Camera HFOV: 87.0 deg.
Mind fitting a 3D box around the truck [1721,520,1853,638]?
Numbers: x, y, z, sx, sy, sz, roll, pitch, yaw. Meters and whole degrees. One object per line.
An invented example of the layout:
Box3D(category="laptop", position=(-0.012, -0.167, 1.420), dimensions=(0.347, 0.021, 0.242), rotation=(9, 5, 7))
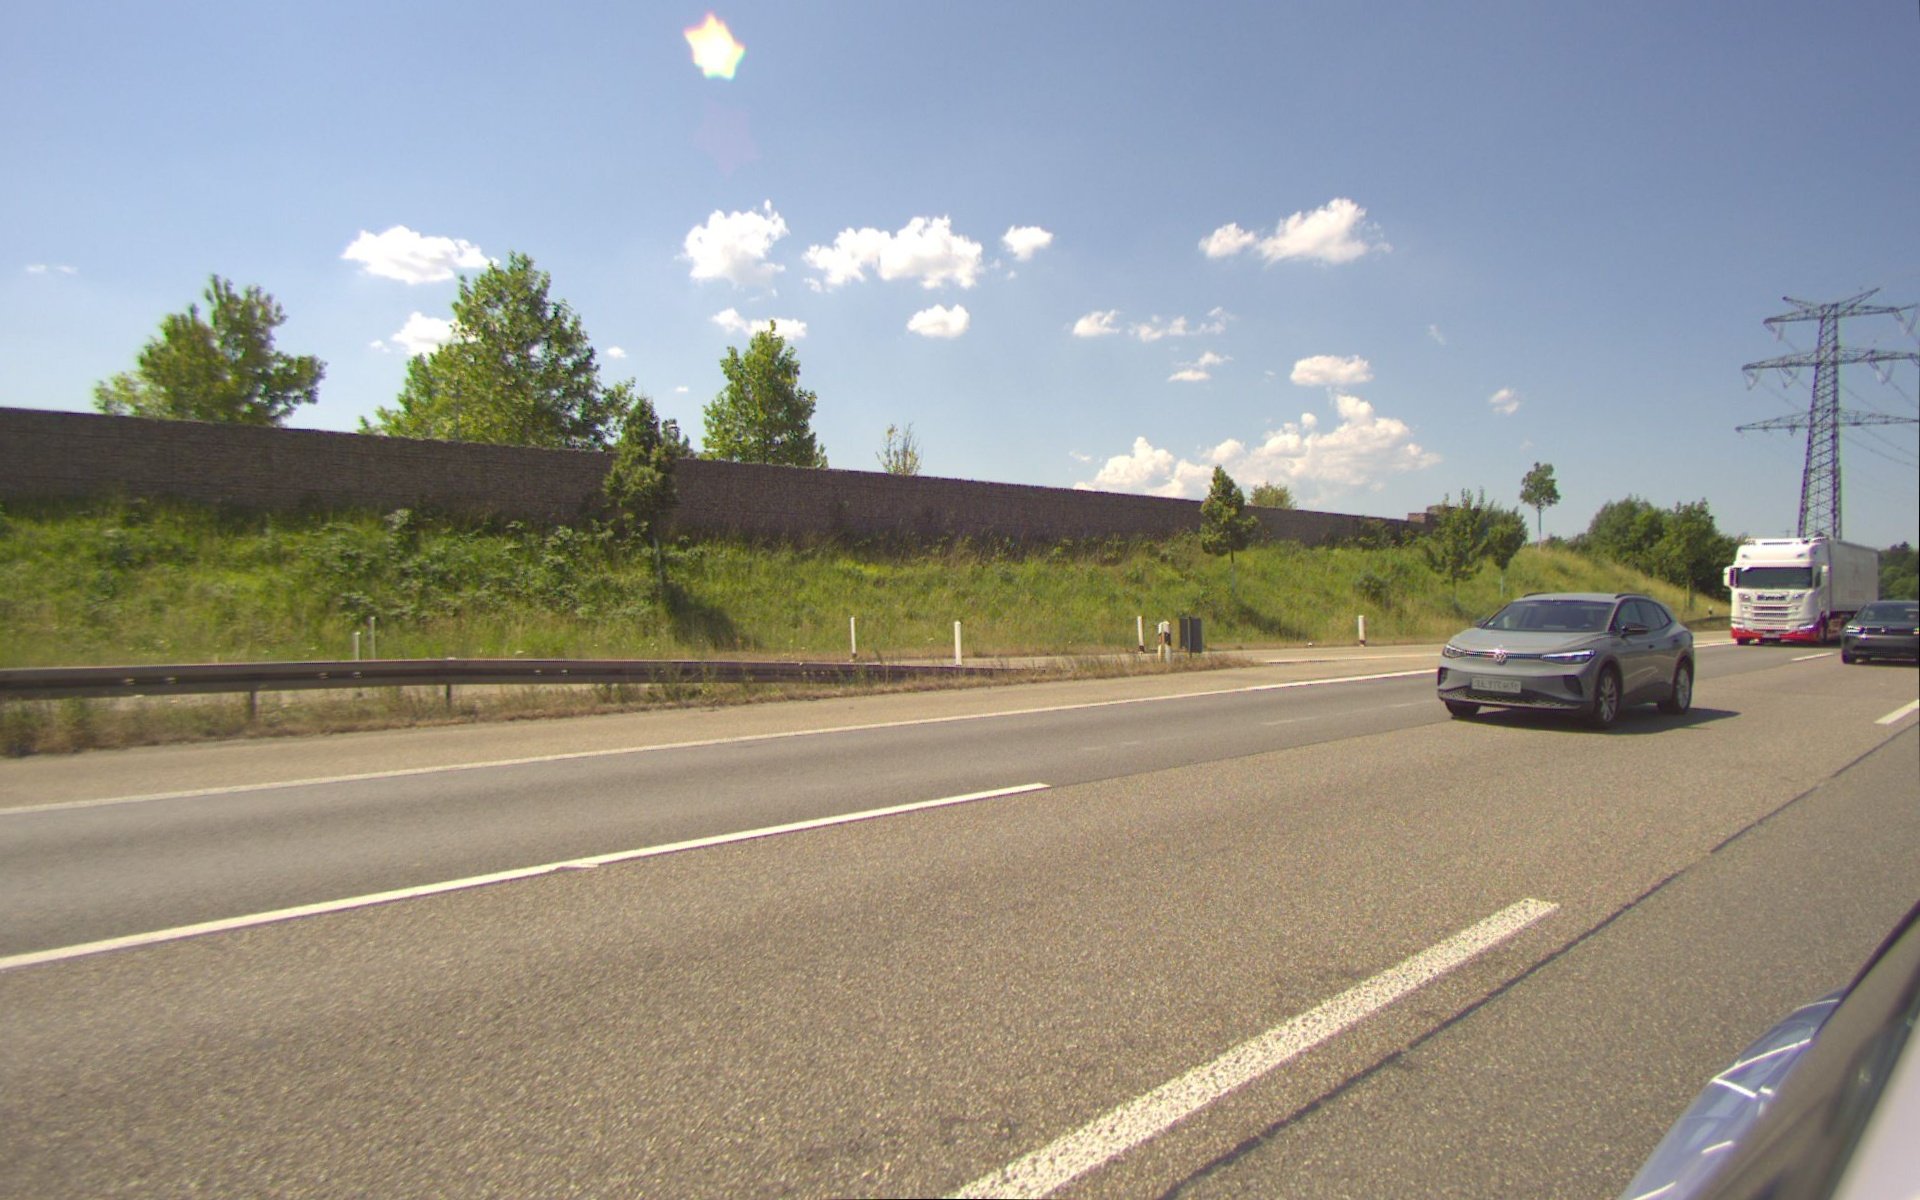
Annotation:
Box3D(category="truck", position=(29.844, -0.708, 36.529), dimensions=(3.779, 3.957, 3.074), rotation=(0, 0, -40))

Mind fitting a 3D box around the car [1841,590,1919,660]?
Box3D(category="car", position=(24.071, 0.596, 25.719), dimensions=(3.975, 1.667, 1.954), rotation=(0, 0, -40))

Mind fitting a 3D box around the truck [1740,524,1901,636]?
Box3D(category="truck", position=(35.134, -0.691, 41.069), dimensions=(12.283, 3.957, 3.074), rotation=(0, 0, -41))

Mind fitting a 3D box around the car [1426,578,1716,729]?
Box3D(category="car", position=(8.124, 0.584, 13.285), dimensions=(4.503, 1.657, 1.872), rotation=(0, 0, -39))
